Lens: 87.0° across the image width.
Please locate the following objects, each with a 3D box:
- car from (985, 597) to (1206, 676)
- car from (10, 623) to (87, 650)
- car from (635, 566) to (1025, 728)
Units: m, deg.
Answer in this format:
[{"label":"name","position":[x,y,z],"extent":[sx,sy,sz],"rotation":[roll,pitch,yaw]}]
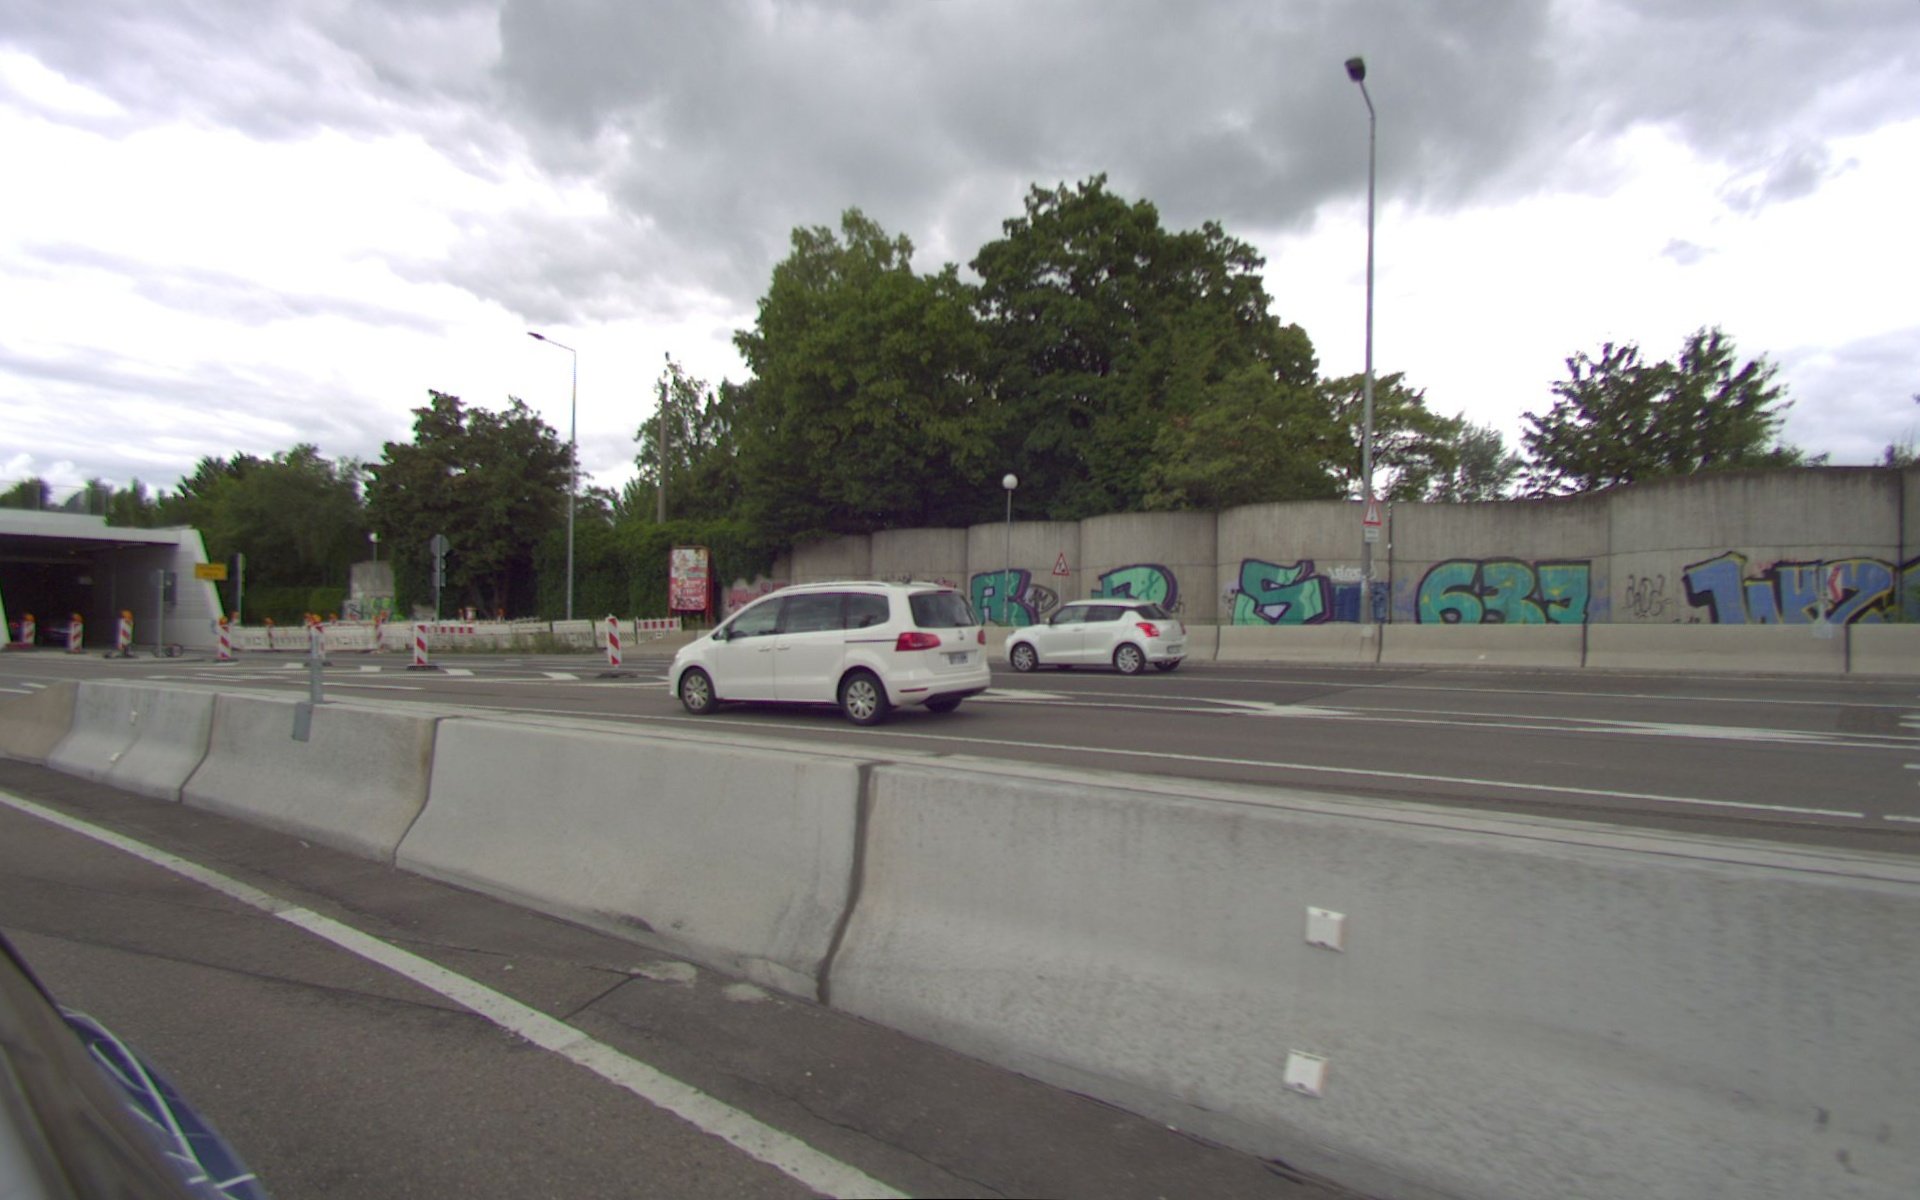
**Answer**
[{"label":"car","position":[2.681,0.701,20.454],"extent":[4.138,1.445,1.743],"rotation":[-1,-1,38]},{"label":"car","position":[-48.317,1.915,53.621],"extent":[4.179,1.360,1.850],"rotation":[-1,-1,30]},{"label":"car","position":[-1.870,0.544,13.351],"extent":[5.265,1.763,1.932],"rotation":[-1,-1,37]}]
